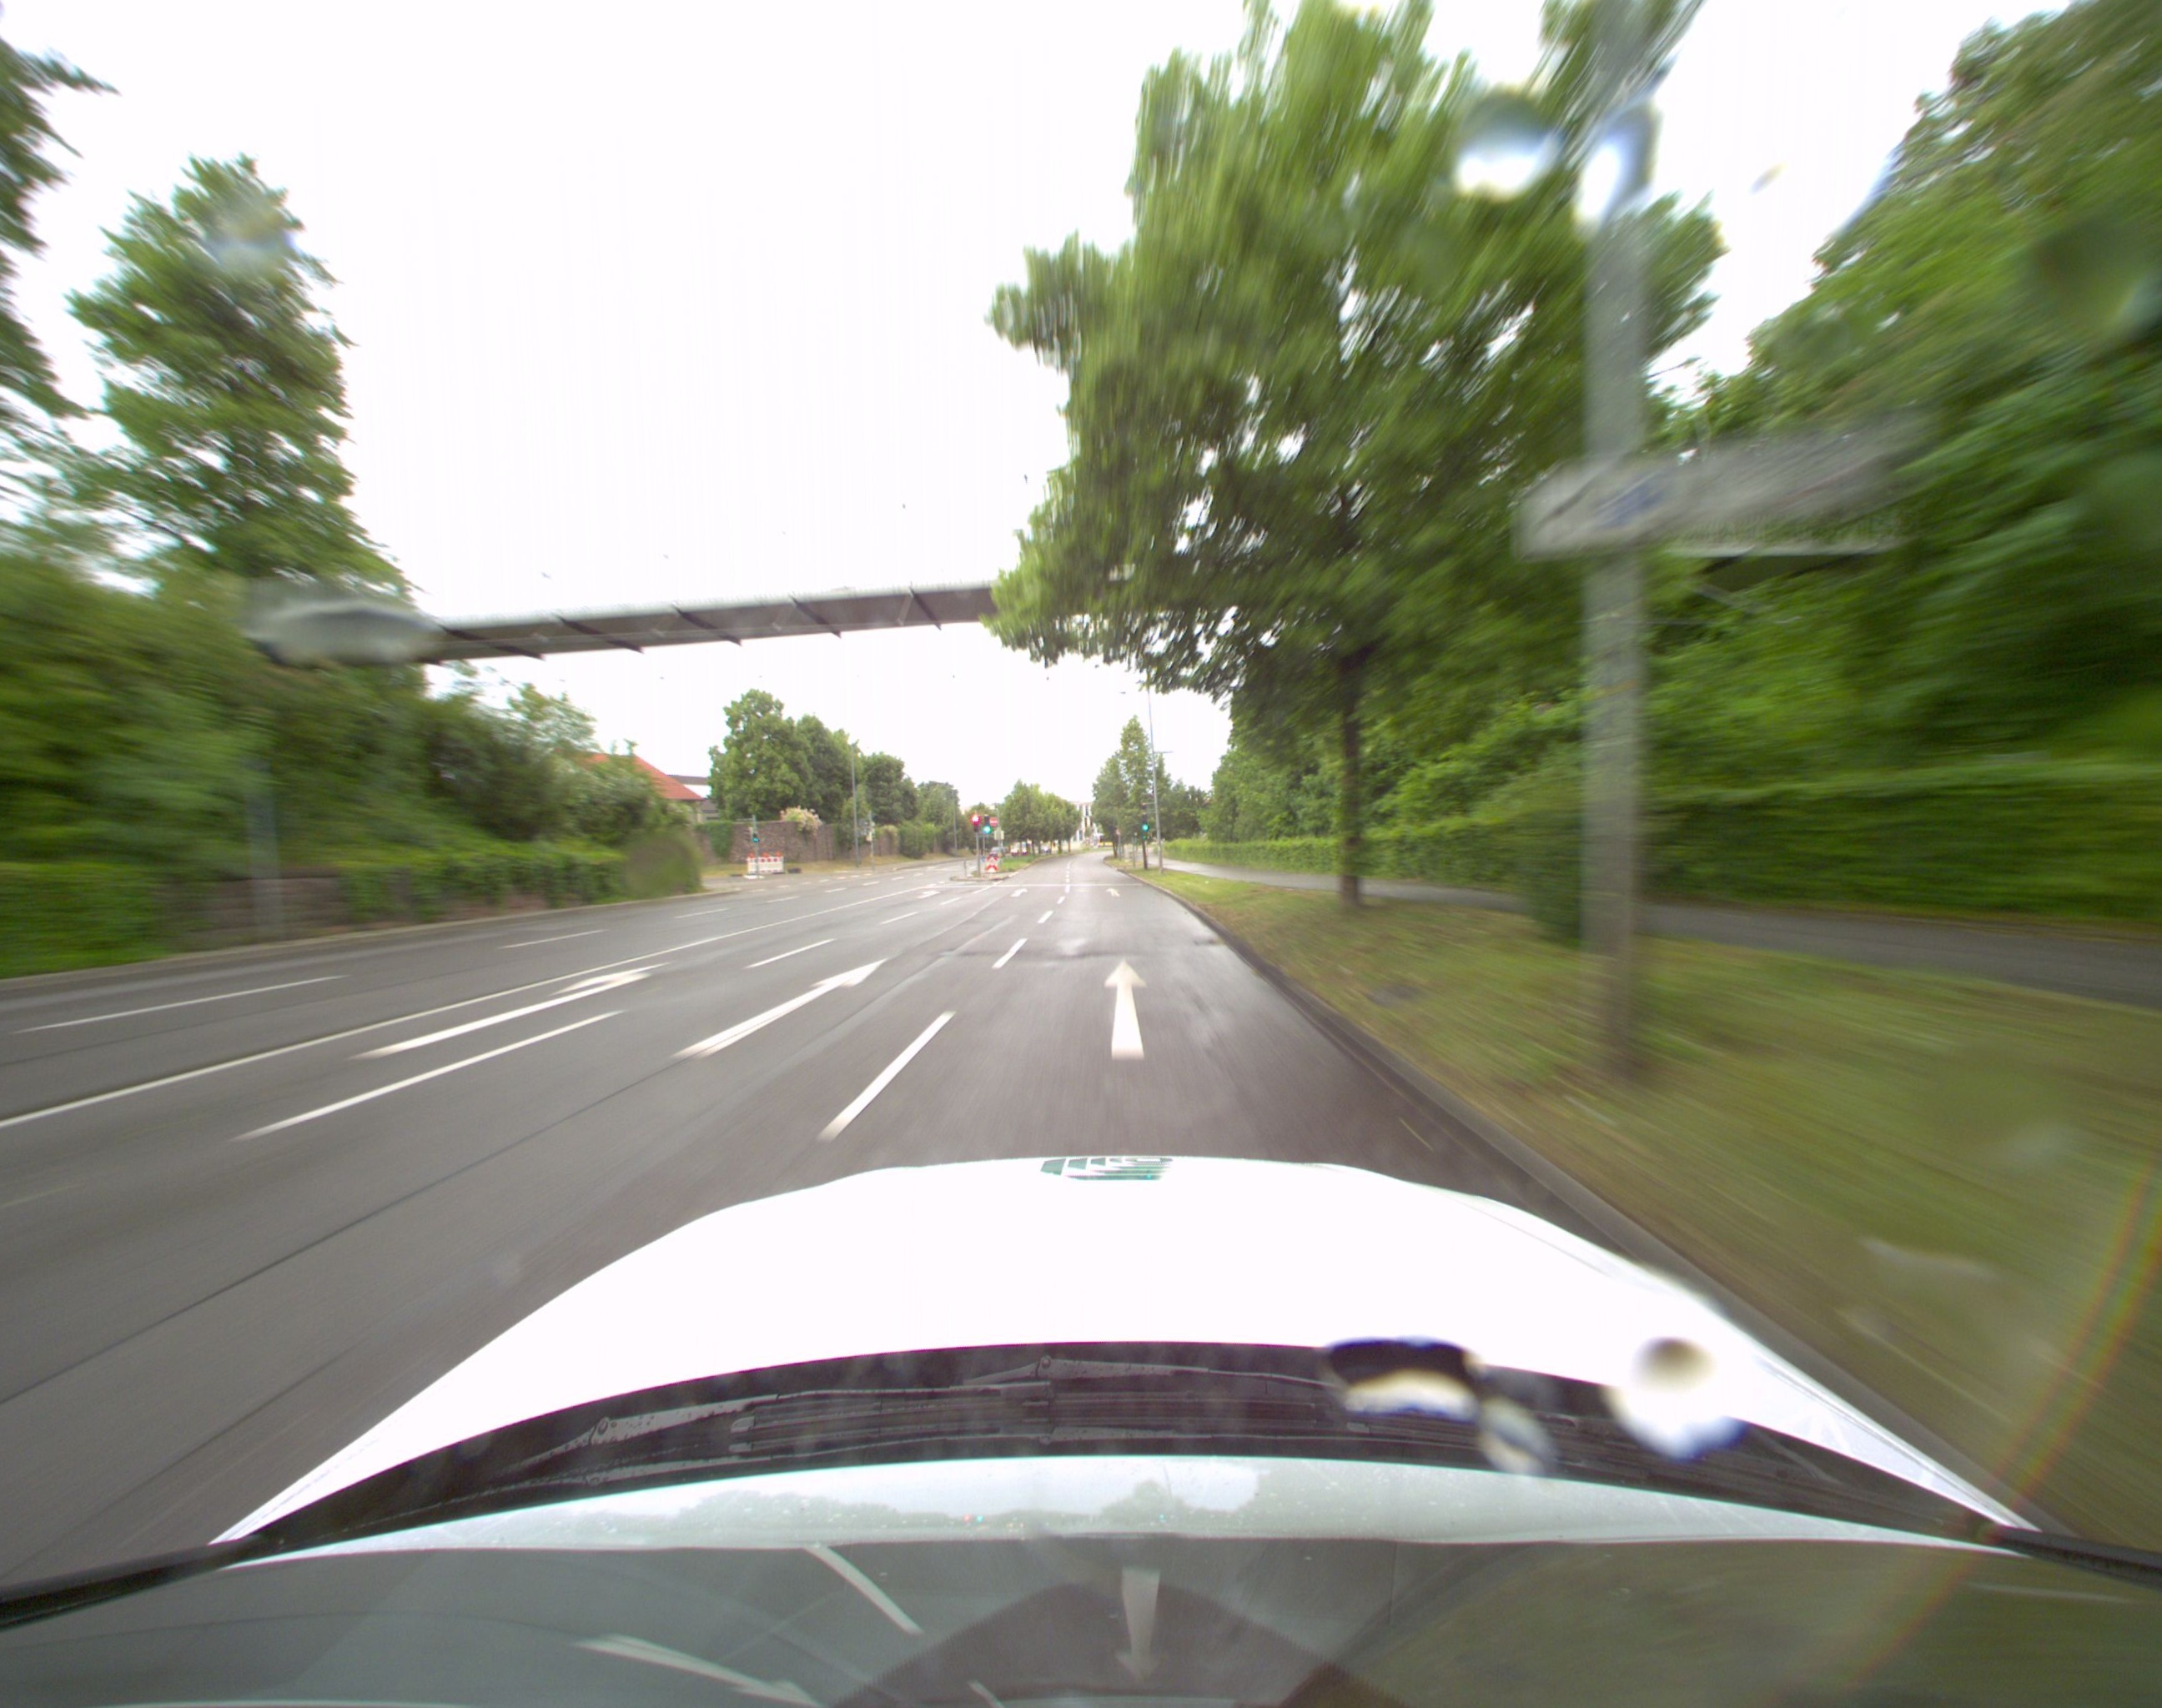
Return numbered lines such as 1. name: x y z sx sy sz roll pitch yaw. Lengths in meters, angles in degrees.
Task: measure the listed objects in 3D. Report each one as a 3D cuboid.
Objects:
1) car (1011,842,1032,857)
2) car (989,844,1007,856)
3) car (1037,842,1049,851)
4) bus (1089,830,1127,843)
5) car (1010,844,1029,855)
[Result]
1. car: -7.733 -0.614 105.792 2.005 1.919 5.101 -1 1 4
2. car: -10.832 -0.578 106.823 1.590 1.489 4.006 -1 1 5
3. car: -6.685 -1.336 143.210 1.677 1.539 2.922 -1 2 7
4. bus: 7.586 -4.589 220.883 2.759 3.357 18.336 -1 0 27
5. car: -9.373 -0.733 124.145 1.870 1.595 4.778 0 1 8
